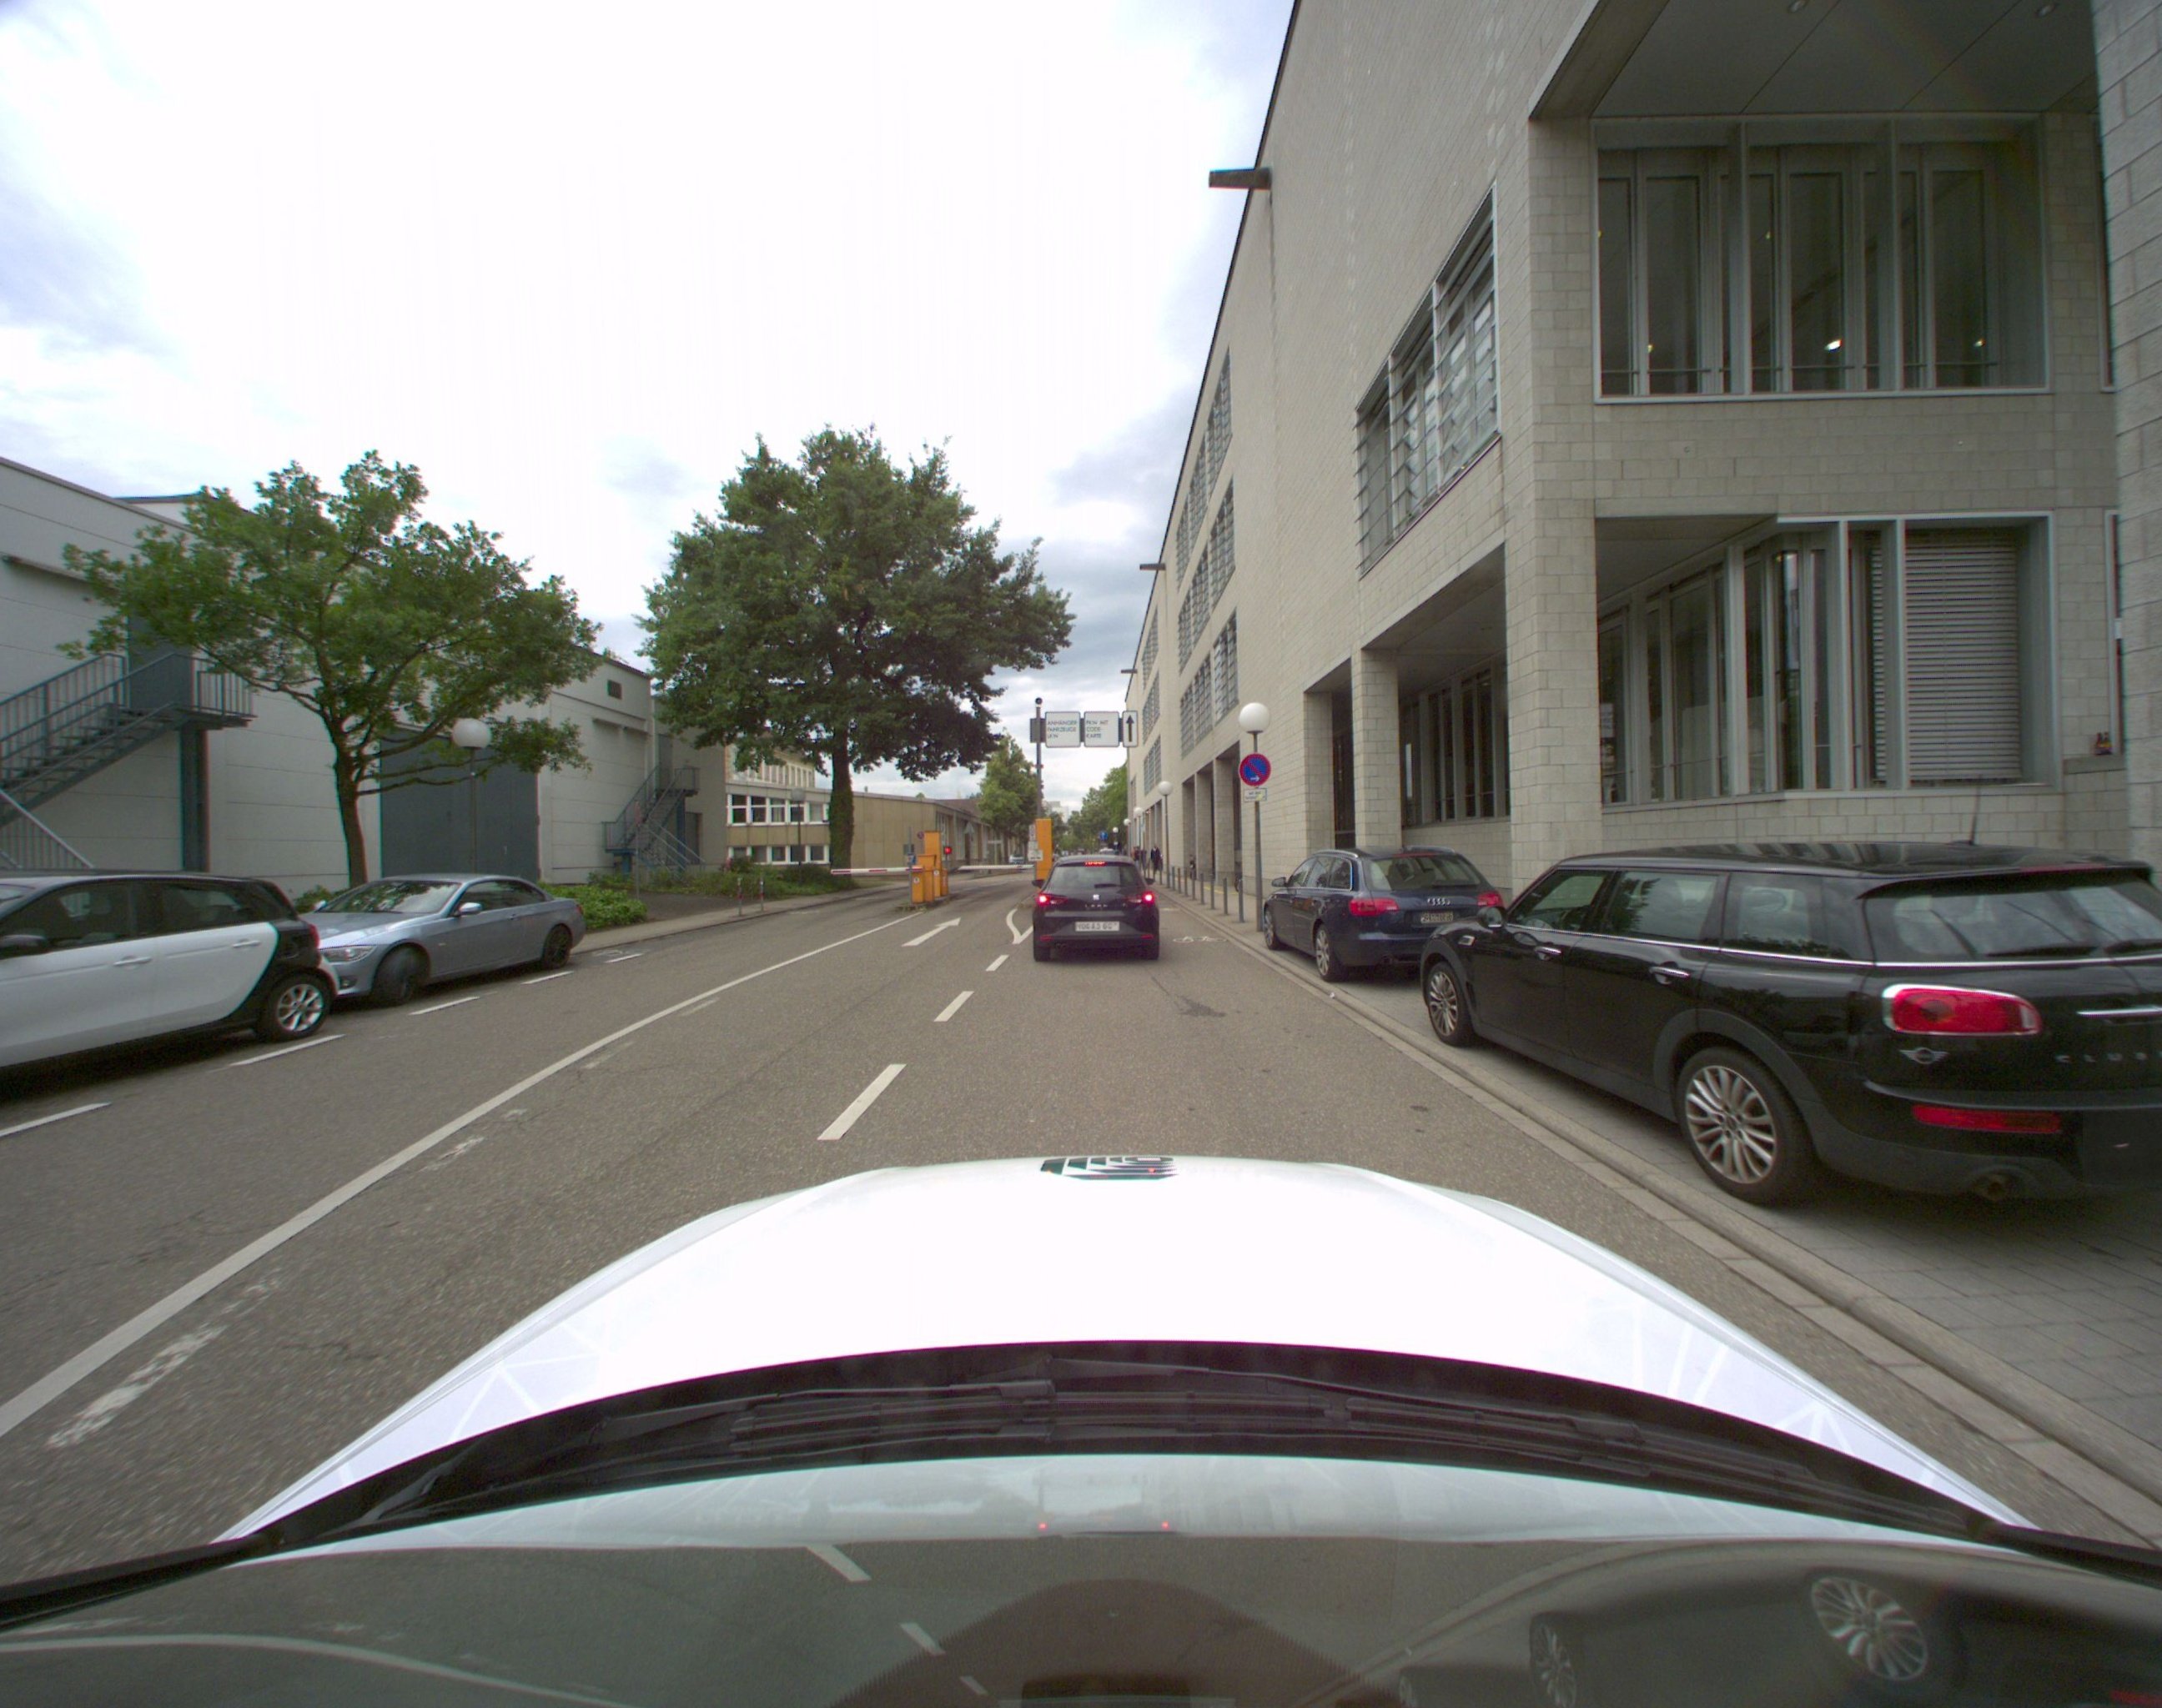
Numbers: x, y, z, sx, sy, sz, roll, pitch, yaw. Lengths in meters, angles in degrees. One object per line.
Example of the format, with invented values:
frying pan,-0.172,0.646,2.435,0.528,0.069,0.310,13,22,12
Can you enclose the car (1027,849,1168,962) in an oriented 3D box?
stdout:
car,0.214,0.648,12.503,1.776,1.419,4.129,-1,0,0

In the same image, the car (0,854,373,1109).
car,-7.760,0.835,5.966,1.710,1.586,3.877,-1,1,0

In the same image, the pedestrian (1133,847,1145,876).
pedestrian,3.481,0.425,48.590,0.687,1.698,0.588,0,2,2

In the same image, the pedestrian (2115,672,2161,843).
pedestrian,10.784,-0.938,7.851,0.624,1.658,0.811,0,2,17

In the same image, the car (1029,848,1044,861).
car,-5.746,0.107,105.534,1.765,1.601,3.998,-1,0,-2

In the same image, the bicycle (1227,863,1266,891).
bicycle,5.411,0.740,26.517,0.458,0.751,2.309,-6,-1,30

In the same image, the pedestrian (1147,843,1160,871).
pedestrian,4.435,0.191,49.686,0.726,1.698,0.587,-1,2,-5

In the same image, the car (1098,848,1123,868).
car,2.501,0.328,69.784,1.987,1.622,4.428,-3,0,1

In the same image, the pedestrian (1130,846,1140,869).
pedestrian,3.977,0.251,59.828,0.693,1.714,0.490,-1,0,4

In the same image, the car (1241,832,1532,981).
car,3.574,0.538,10.696,1.987,1.452,4.923,-2,0,1

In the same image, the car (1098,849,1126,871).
car,2.458,0.491,65.254,1.987,1.622,4.427,-2,-1,0

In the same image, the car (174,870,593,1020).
car,-8.390,0.975,10.438,1.813,1.389,4.191,-1,0,-2

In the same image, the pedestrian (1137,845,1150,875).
pedestrian,3.574,0.355,46.580,0.693,1.714,0.490,-1,0,4

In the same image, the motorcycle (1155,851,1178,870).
motorcycle,5.915,0.441,56.392,0.752,1.148,2.678,1,3,25

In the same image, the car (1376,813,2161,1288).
car,3.531,0.595,4.859,1.812,1.443,4.519,-3,0,-1

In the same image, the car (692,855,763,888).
car,-17.931,0.856,41.515,1.857,1.530,4.000,-1,0,0

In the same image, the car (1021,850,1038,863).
car,-6.345,0.283,100.030,1.764,1.601,4.000,-1,0,0

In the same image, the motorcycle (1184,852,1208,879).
motorcycle,5.604,0.546,39.630,0.560,1.148,2.230,1,3,25

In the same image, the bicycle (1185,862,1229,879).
bicycle,5.669,0.736,36.625,1.892,0.698,0.492,0,2,-4

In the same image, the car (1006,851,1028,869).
car,-6.004,0.555,77.240,1.765,1.601,3.999,-1,0,-1
